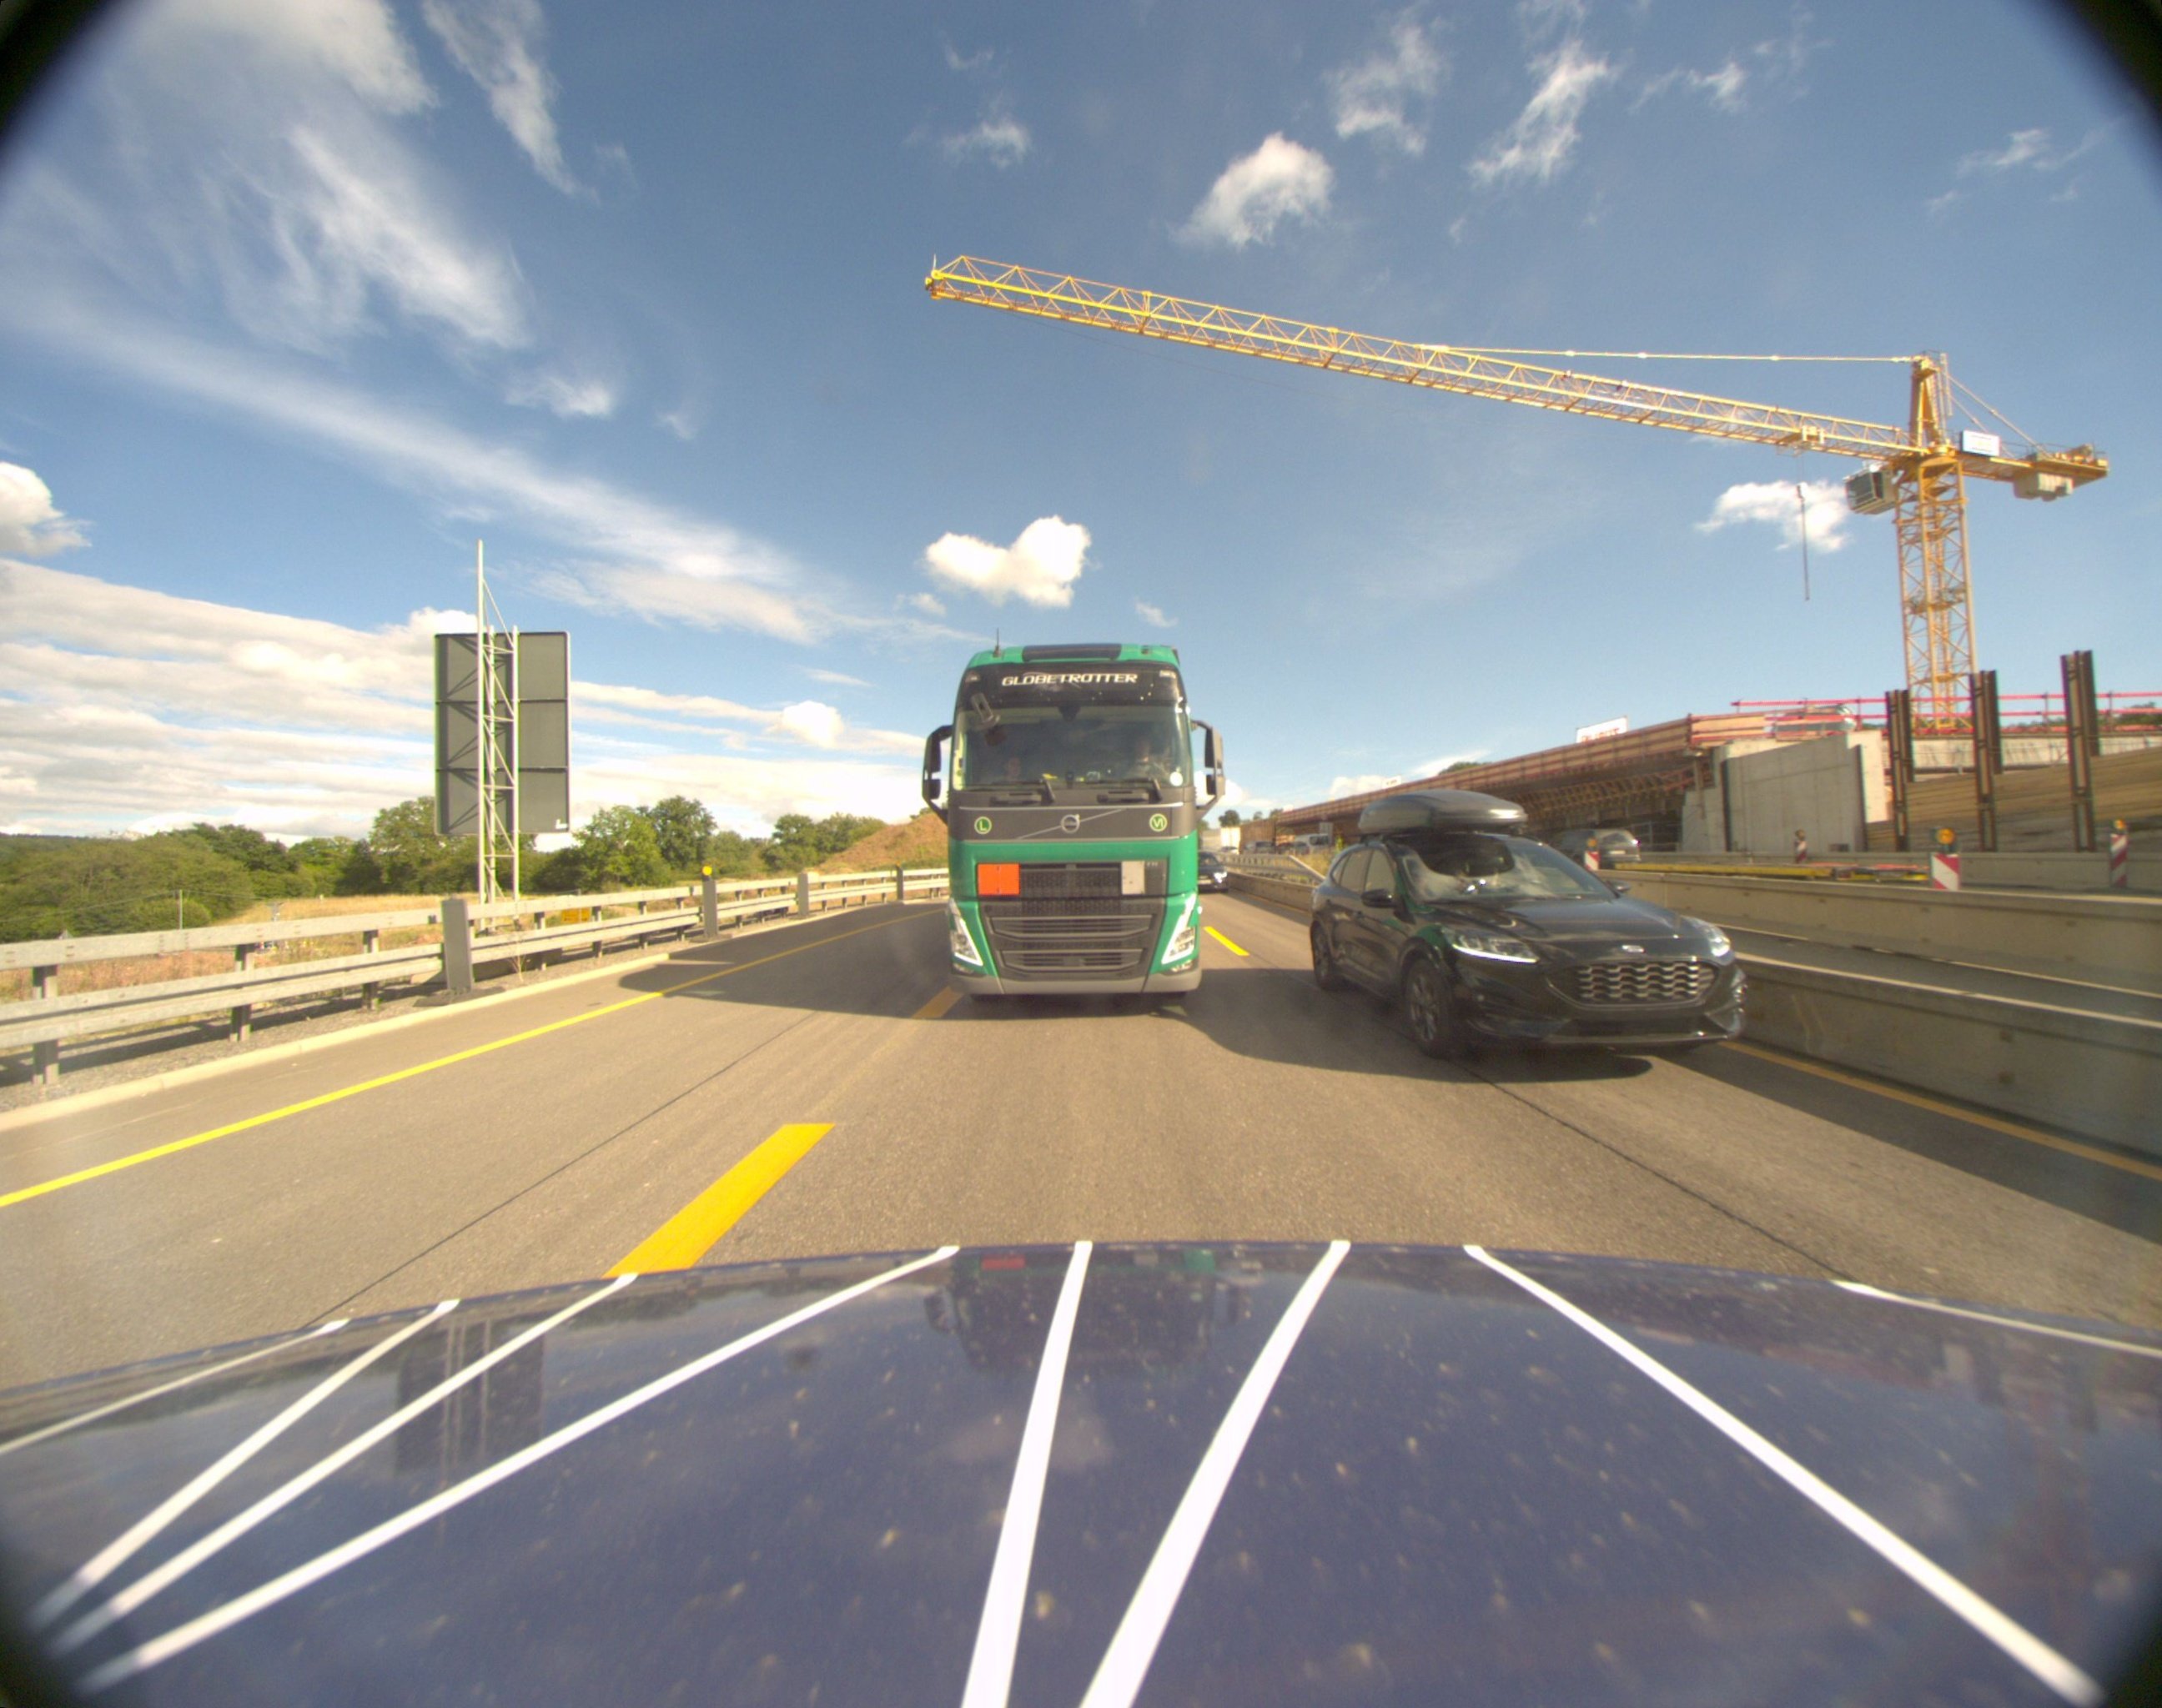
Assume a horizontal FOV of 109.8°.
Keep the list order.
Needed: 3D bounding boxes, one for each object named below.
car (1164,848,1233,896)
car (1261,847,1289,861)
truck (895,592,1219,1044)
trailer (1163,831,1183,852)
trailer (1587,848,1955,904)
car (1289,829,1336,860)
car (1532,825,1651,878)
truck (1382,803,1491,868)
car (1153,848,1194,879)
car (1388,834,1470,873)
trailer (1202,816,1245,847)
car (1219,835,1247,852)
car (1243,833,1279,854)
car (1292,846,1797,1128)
[{"bbox_3d":[4.208,0.586,27.871,1.806,1.448,4.659,-2,1,1],"label":"car"},{"bbox_3d":[20.087,0.004,78.756,1.924,1.265,3.999,-2,1,1],"label":"car"},{"bbox_3d":[-0.045,-0.402,11.788,2.663,3.826,10.316,-2,1,2],"label":"truck"},{"bbox_3d":[19.385,-2.757,161.378,2.694,4.132,13.809,-2,1,1],"label":"trailer"},{"bbox_3d":[18.261,0.435,21.512,2.356,0.934,10.333,-2,1,9],"label":"trailer"},{"bbox_3d":[19.559,-0.822,64.503,2.264,2.389,5.866,-2,1,1],"label":"car"},{"bbox_3d":[19.181,-0.141,28.824,1.997,1.794,4.446,-2,1,9],"label":"car"},{"bbox_3d":[19.996,-1.033,43.335,2.707,3.293,7.535,-2,1,1],"label":"truck"},{"bbox_3d":[5.169,0.488,43.085,1.806,1.555,4.561,-2,1,1],"label":"car"},{"bbox_3d":[16.112,-0.036,35.503,1.857,1.626,4.750,-2,0,3],"label":"car"},{"bbox_3d":[19.148,-2.978,103.043,2.828,3.819,13.799,-3,1,-1],"label":"trailer"},{"bbox_3d":[16.456,-1.123,82.471,2.131,1.664,4.272,-2,0,1],"label":"car"},{"bbox_3d":[16.385,-0.952,69.312,2.131,1.755,5.031,-2,0,1],"label":"car"},{"bbox_3d":[3.269,0.753,6.558,1.804,1.533,4.384,-2,1,3],"label":"car"}]
